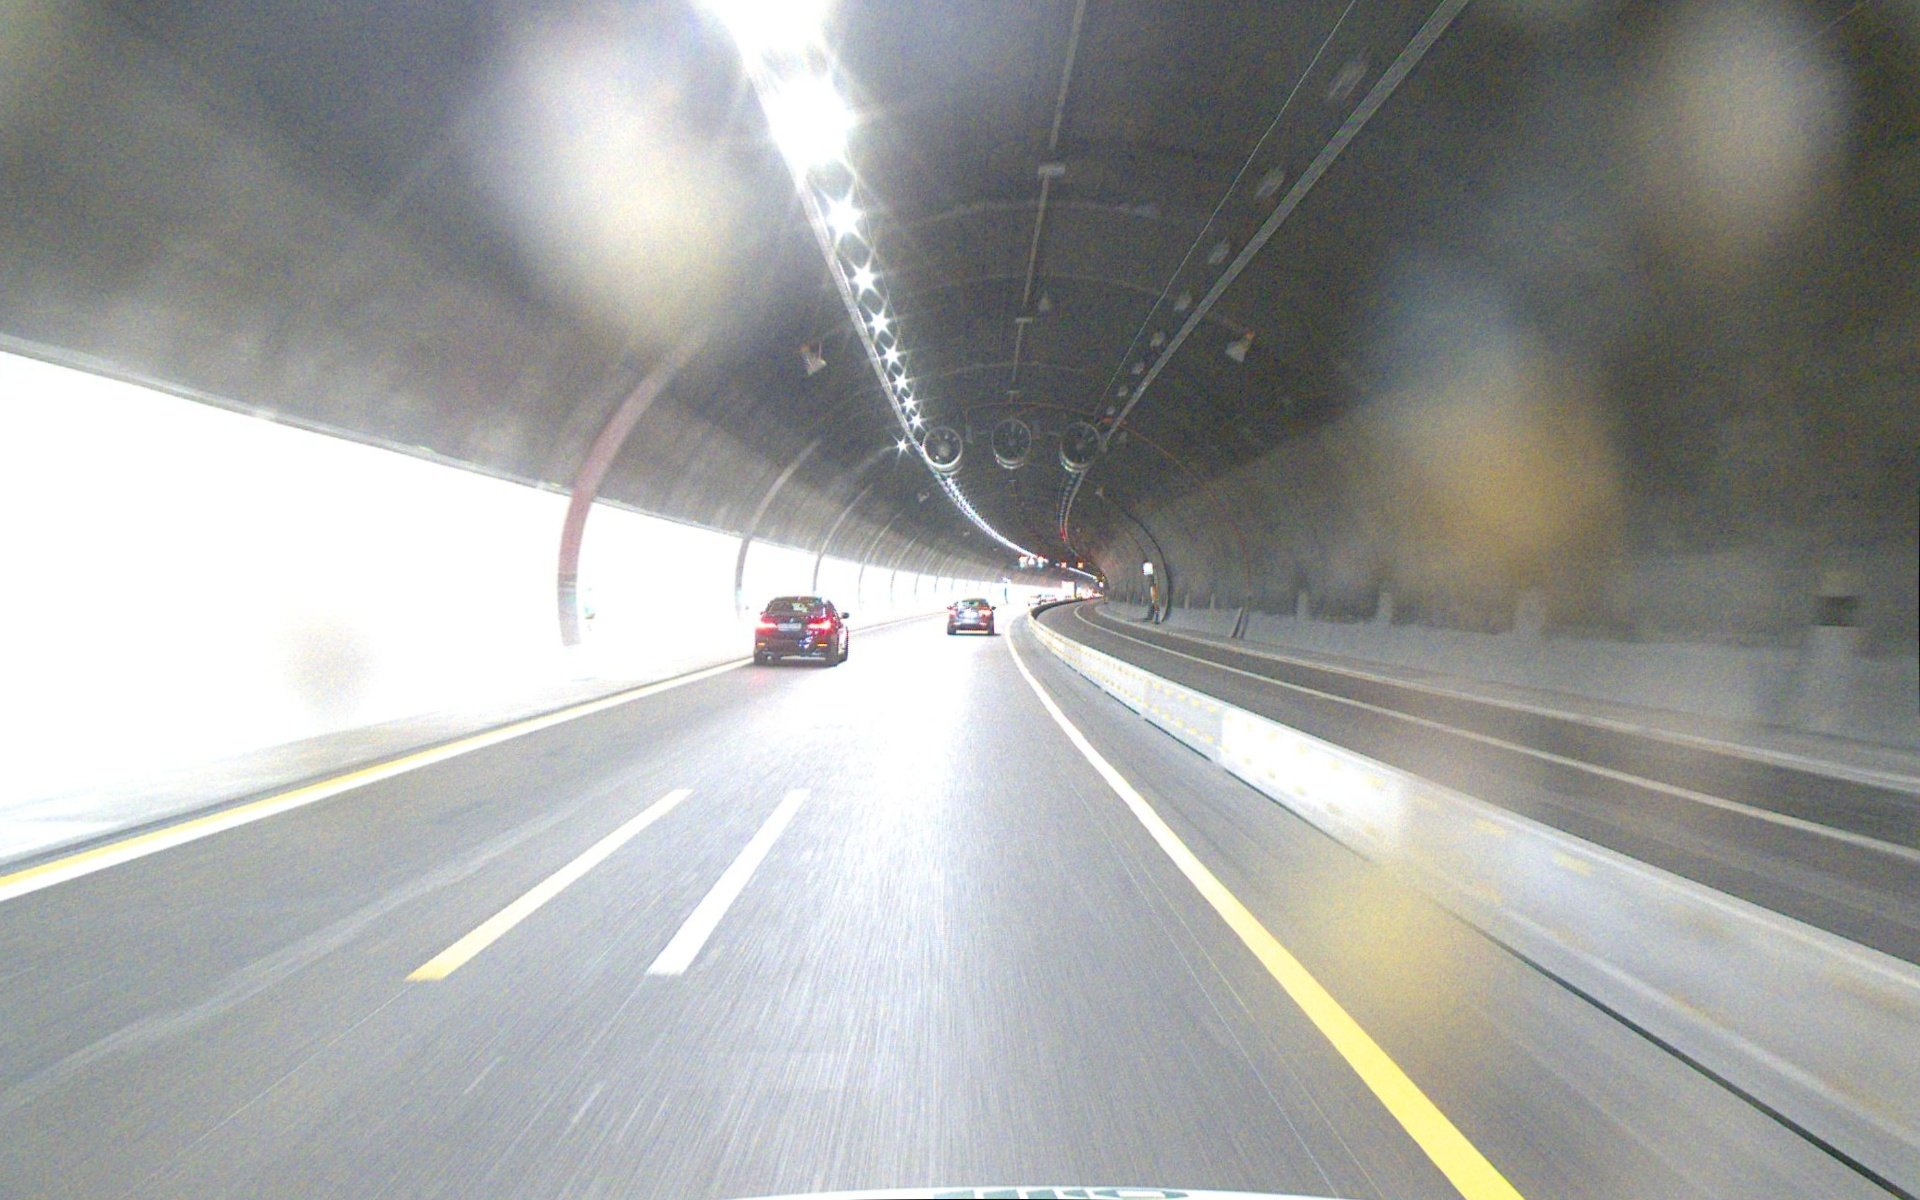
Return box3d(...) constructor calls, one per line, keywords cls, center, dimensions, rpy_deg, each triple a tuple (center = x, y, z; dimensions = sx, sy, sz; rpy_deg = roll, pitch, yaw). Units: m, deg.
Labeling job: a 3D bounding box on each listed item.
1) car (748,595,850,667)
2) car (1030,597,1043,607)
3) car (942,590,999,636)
box3d(cls="car", center=(-3.487, 0.631, 36.664), dimensions=(1.741, 1.463, 4.883), rpy_deg=(1, 0, 0))
box3d(cls="car", center=(10.293, 0.251, 222.839), dimensions=(1.561, 1.356, 3.752), rpy_deg=(1, 0, 5))
box3d(cls="car", center=(0.449, 0.489, 65.547), dimensions=(2.096, 1.736, 4.002), rpy_deg=(1, 0, 3))
